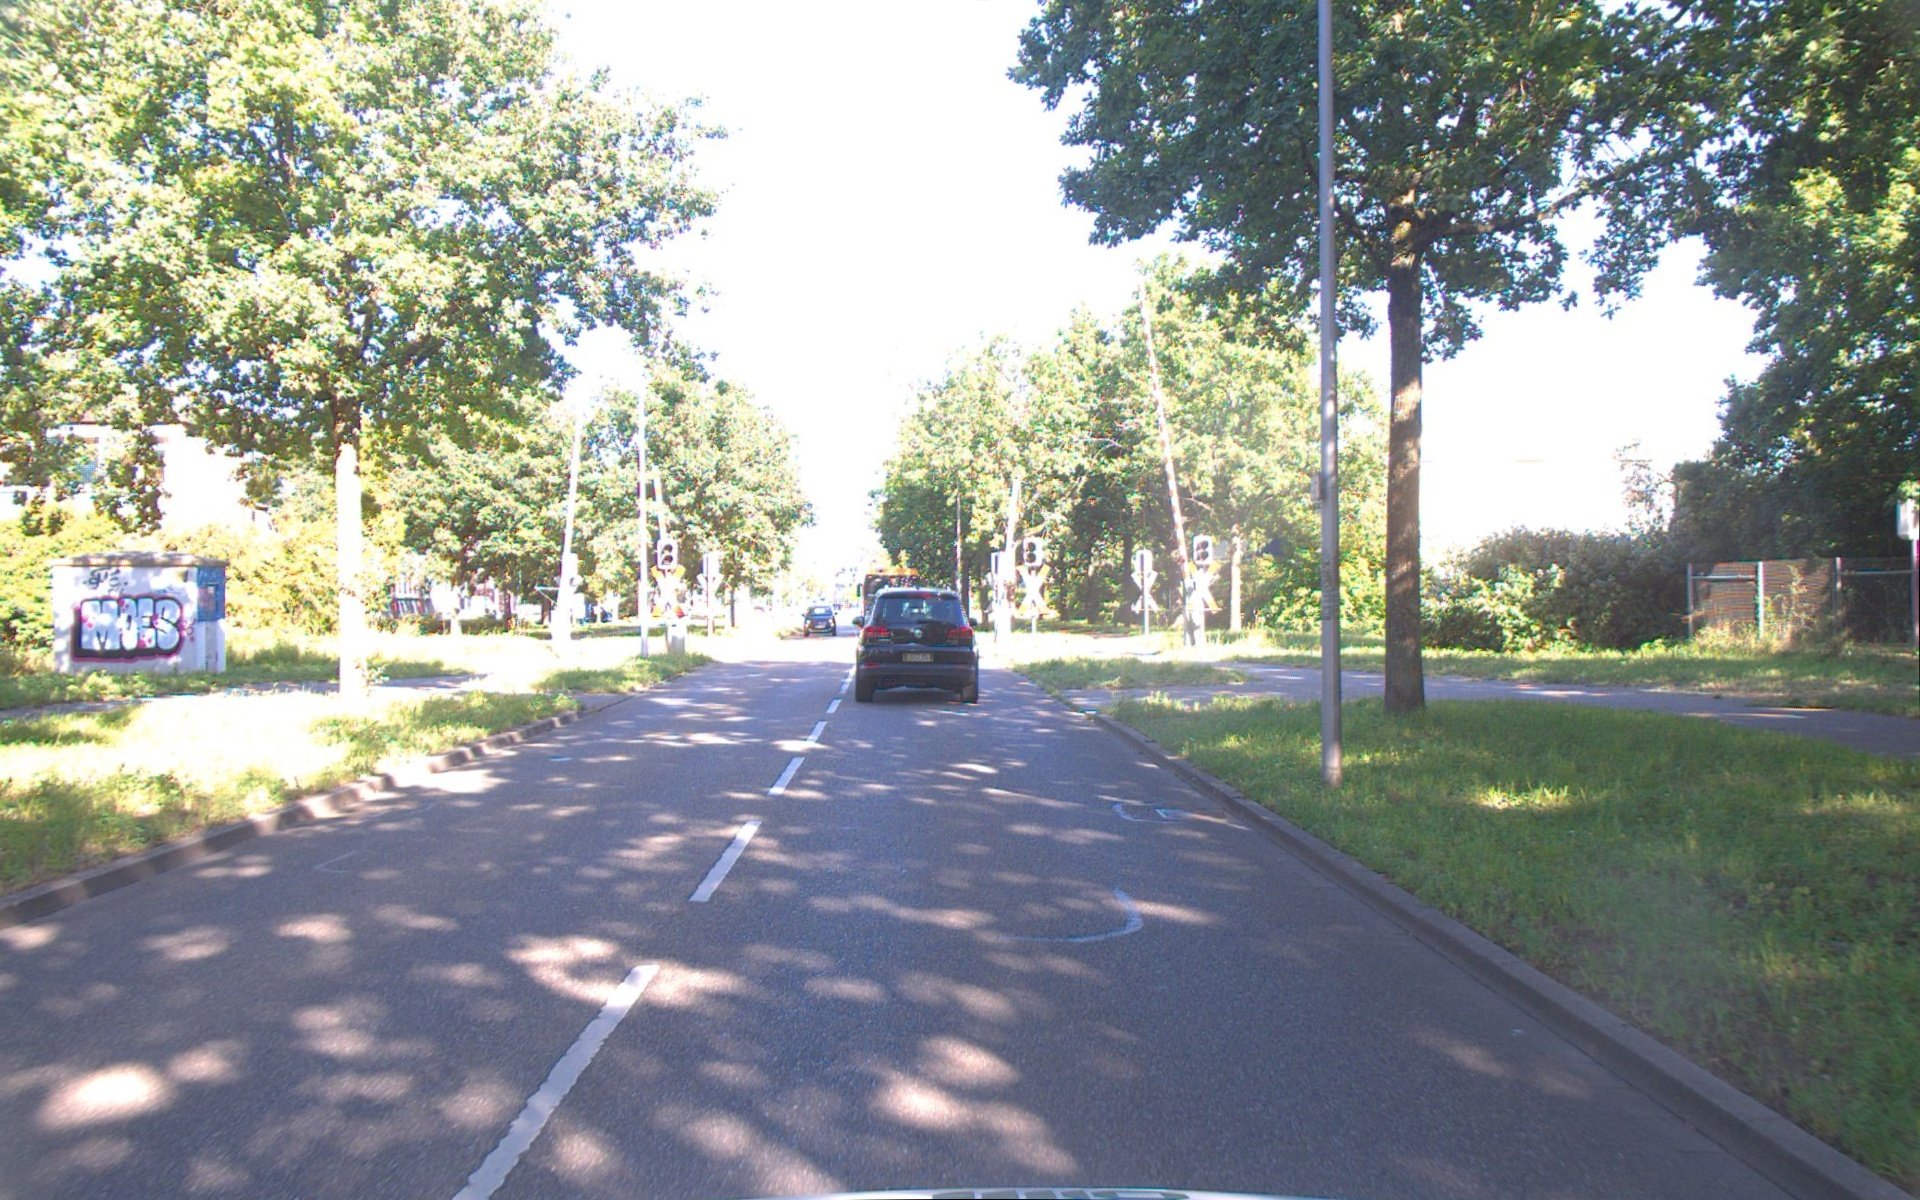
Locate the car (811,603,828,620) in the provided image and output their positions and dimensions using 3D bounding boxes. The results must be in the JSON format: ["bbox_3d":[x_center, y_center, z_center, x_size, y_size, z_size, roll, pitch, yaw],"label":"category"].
[{"bbox_3d":[-17.829,1.414,209.652,1.957,2.049,3.992,1,0,-9],"label":"car"}]

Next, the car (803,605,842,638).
[{"bbox_3d":[-6.816,1.049,82.084,1.533,1.531,4.000,1,0,1],"label":"car"}]

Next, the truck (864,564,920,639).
[{"bbox_3d":[-3.134,0.043,77.858,2.461,3.300,8.149,-1,0,-2],"label":"truck"}]

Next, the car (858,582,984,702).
[{"bbox_3d":[-0.593,0.591,25.386,1.746,1.662,3.999,1,0,-1],"label":"car"}]

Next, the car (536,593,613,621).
[{"bbox_3d":[-29.801,0.534,127.878,5.691,2.049,1.993,1,0,-14],"label":"car"}]
